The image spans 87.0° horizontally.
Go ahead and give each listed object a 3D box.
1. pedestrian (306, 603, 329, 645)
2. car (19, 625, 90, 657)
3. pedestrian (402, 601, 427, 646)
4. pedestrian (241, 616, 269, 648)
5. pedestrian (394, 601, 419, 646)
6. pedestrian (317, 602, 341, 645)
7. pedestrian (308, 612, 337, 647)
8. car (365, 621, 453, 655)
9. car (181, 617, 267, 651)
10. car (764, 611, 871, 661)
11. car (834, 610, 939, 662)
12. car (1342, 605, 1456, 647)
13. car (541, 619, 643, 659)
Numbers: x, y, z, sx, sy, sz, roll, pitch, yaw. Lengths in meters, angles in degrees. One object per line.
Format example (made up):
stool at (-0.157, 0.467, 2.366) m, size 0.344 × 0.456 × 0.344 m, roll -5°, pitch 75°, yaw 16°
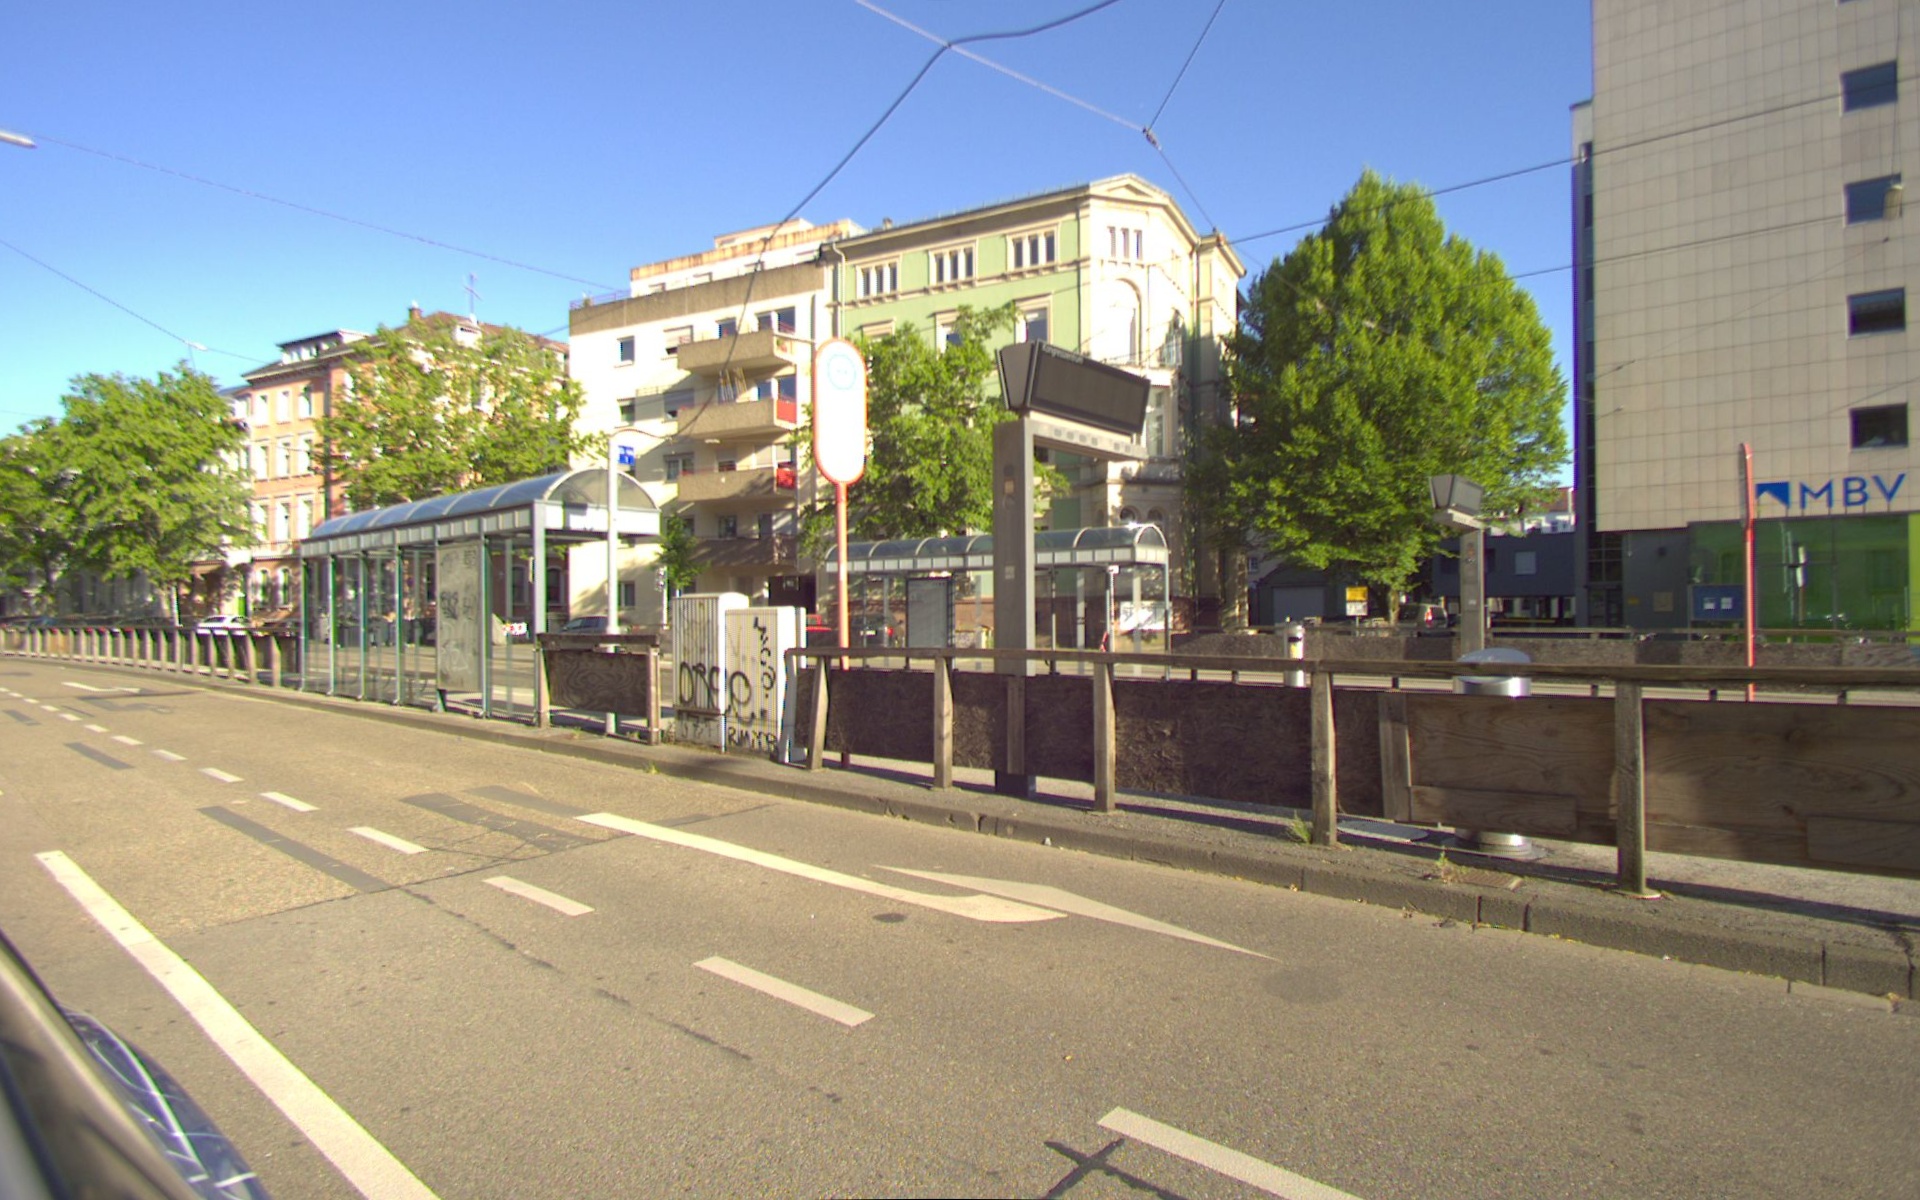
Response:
pedestrian at (-34.222, 1.267, 53.870) m, size 0.755 × 2.224 × 0.803 m, roll -1°, pitch -2°, yaw 36°
car at (-44.734, 2.002, 49.981) m, size 3.988 × 1.500 × 1.629 m, roll -1°, pitch -2°, yaw 33°
pedestrian at (-27.050, 1.174, 50.215) m, size 0.753 × 2.224 × 0.804 m, roll -1°, pitch -2°, yaw 30°
pedestrian at (-35.738, 1.620, 51.323) m, size 0.888 × 1.641 × 0.859 m, roll -1°, pitch -2°, yaw 31°
pedestrian at (-27.824, 1.184, 50.891) m, size 0.753 × 2.224 × 0.804 m, roll -1°, pitch -2°, yaw 30°
pedestrian at (-33.025, 1.252, 52.982) m, size 0.753 × 2.224 × 0.804 m, roll -1°, pitch -2°, yaw 30°
pedestrian at (-31.879, 1.471, 50.620) m, size 1.016 × 1.733 × 0.846 m, roll -1°, pitch -2°, yaw 32°
car at (-23.762, 1.624, 43.632) m, size 3.986 × 1.407 × 1.592 m, roll -1°, pitch -2°, yaw 32°
car at (-39.445, 1.810, 54.359) m, size 1.825 × 1.721 × 4.130 m, roll 0°, pitch -1°, yaw -5°
car at (-4.793, 1.197, 34.589) m, size 1.754 × 1.594 × 3.965 m, roll -1°, pitch -1°, yaw 26°
car at (-2.359, 1.165, 33.541) m, size 1.754 × 1.594 × 3.965 m, roll -1°, pitch -1°, yaw 26°
car at (15.759, 0.900, 36.457) m, size 1.544 × 1.423 × 3.430 m, roll -1°, pitch 0°, yaw -38°
car at (-14.010, 1.453, 38.523) m, size 3.725 × 1.438 × 1.637 m, roll -1°, pitch -1°, yaw 29°
